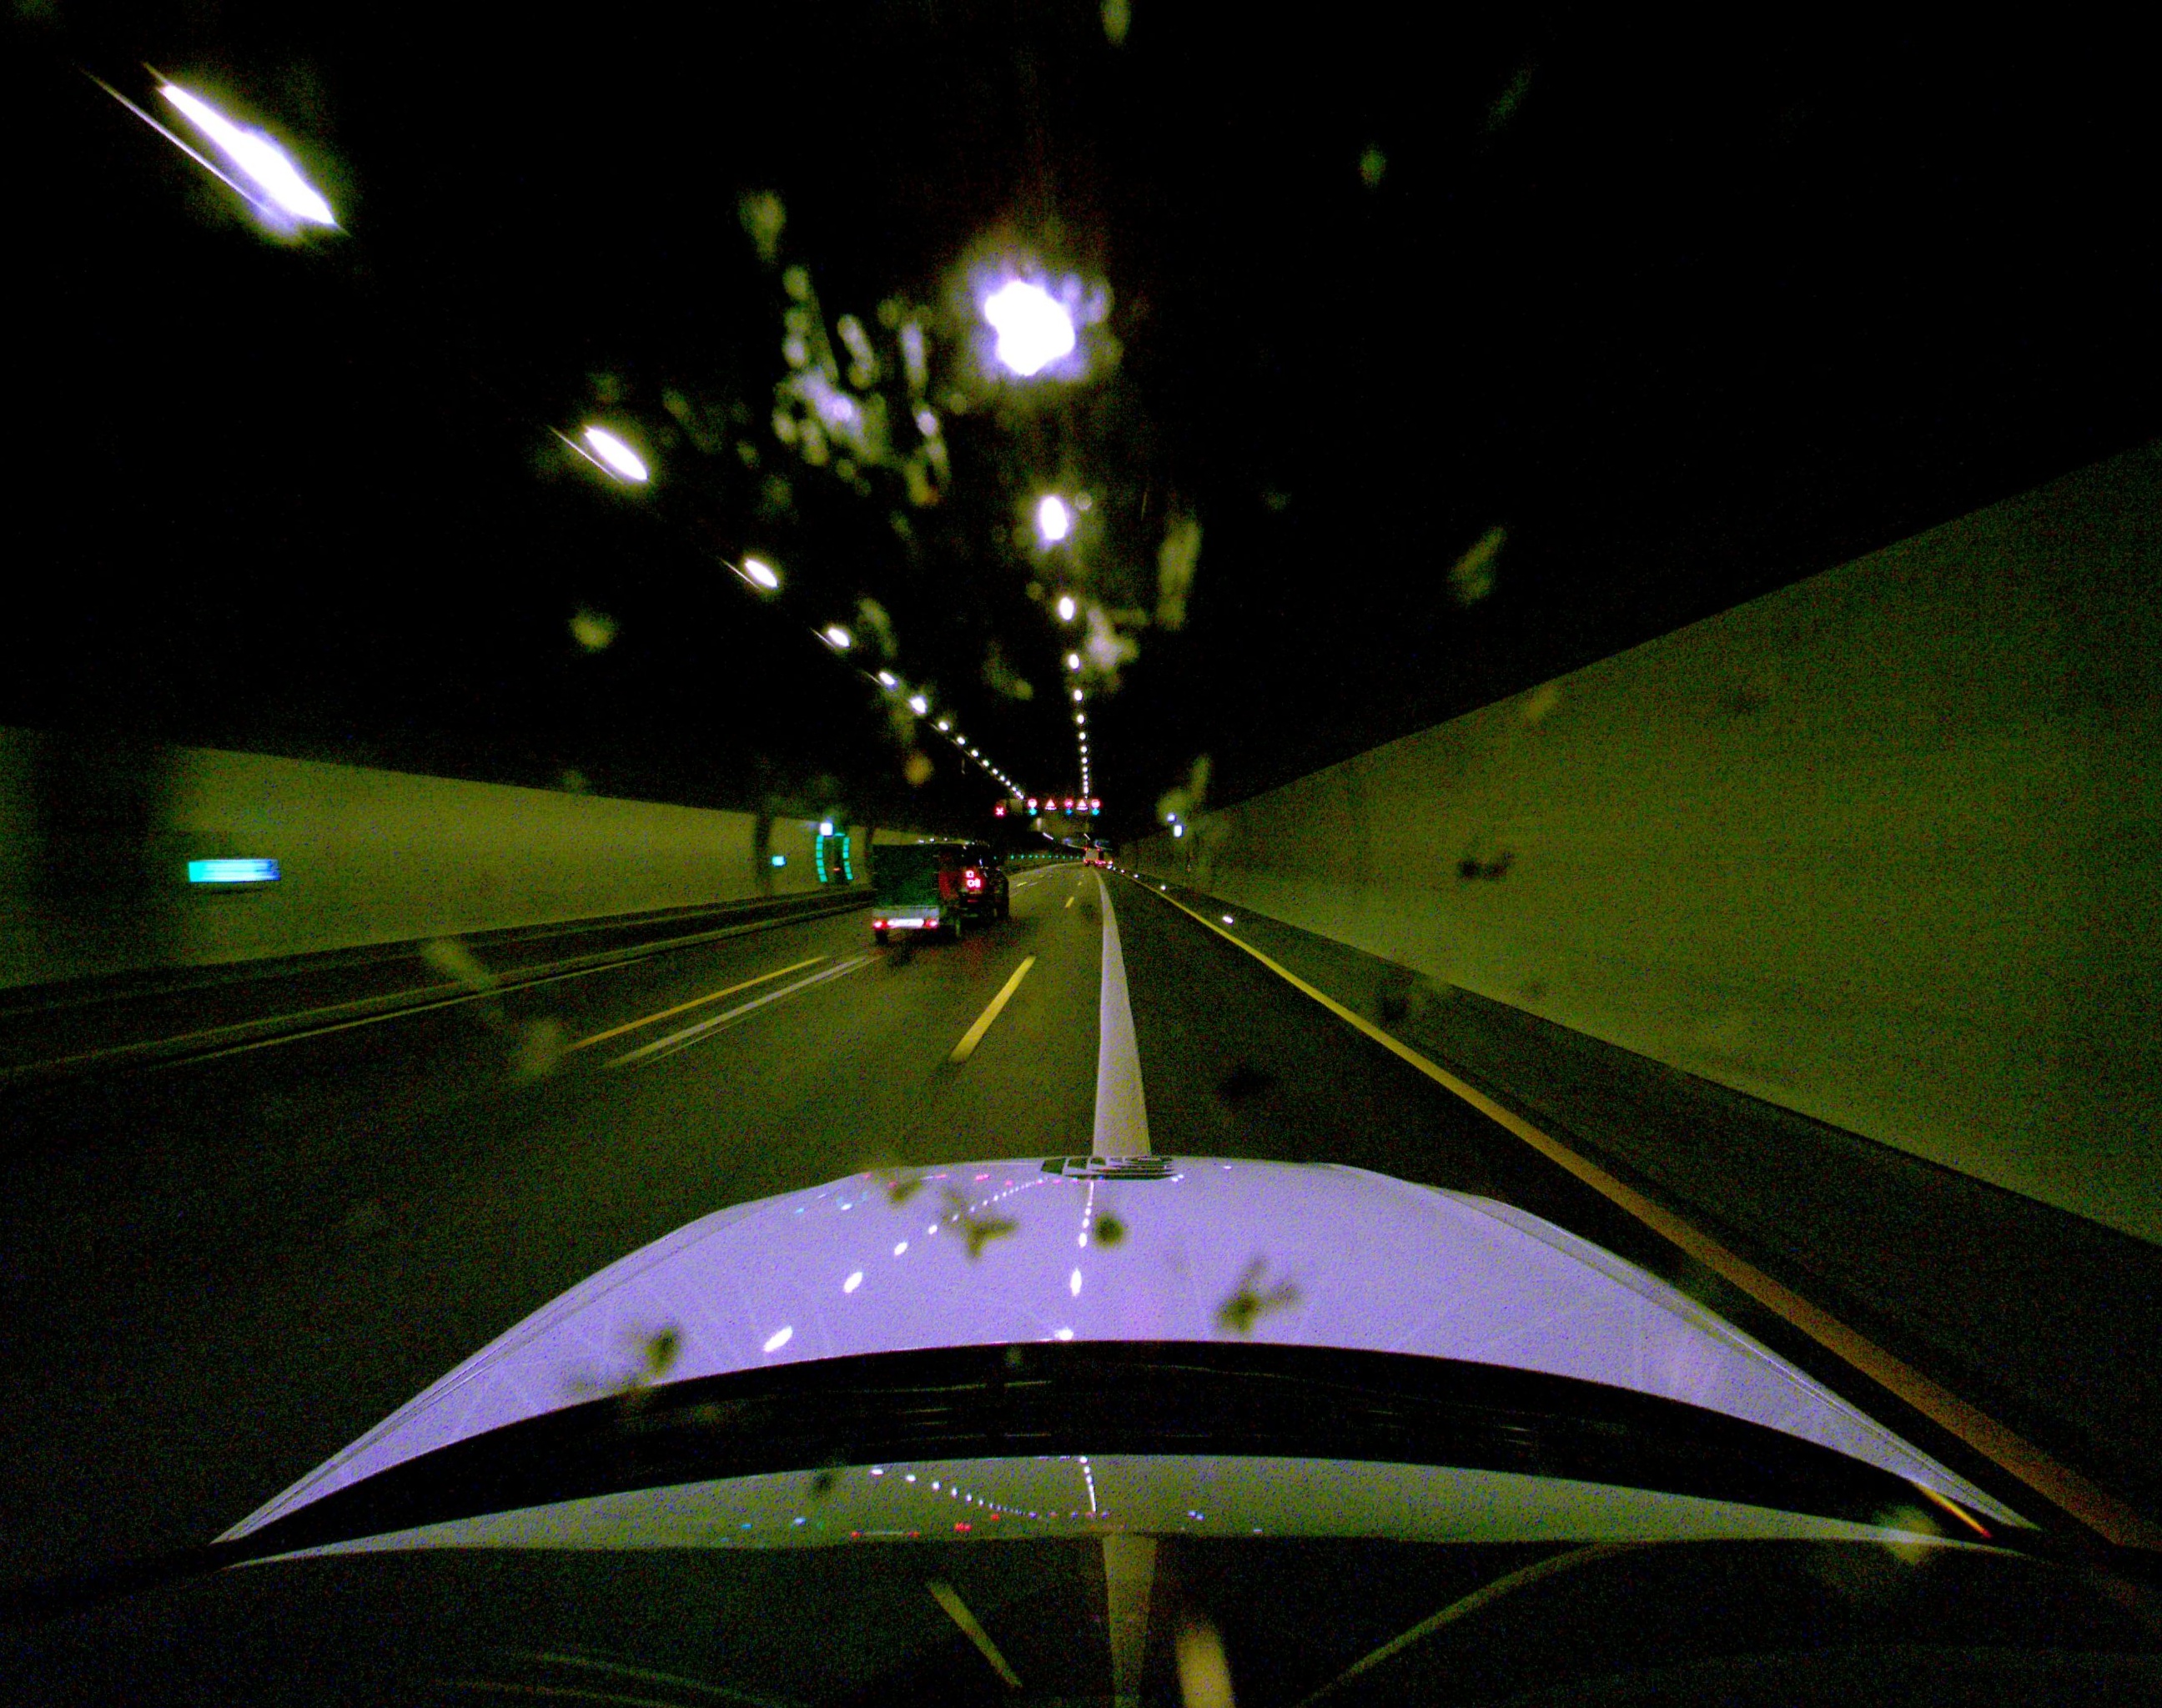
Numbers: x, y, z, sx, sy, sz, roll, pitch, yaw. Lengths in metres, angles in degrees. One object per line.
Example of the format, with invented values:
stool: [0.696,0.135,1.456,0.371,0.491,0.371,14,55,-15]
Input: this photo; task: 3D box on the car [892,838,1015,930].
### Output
car: [-2.850,0.607,19.538,1.986,1.895,5.454,0,0,1]

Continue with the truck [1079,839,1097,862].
truck: [1.427,-0.746,162.078,3.463,4.316,10.951,-1,0,0]

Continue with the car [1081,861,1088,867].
car: [0.942,2.653,224.814,1.987,1.582,3.999,-1,0,0]

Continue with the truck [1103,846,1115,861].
truck: [8.794,-0.186,259.996,3.462,4.316,10.951,-2,0,0]

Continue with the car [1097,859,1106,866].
car: [5.564,2.307,222.168,1.984,1.895,5.540,-1,0,5]
